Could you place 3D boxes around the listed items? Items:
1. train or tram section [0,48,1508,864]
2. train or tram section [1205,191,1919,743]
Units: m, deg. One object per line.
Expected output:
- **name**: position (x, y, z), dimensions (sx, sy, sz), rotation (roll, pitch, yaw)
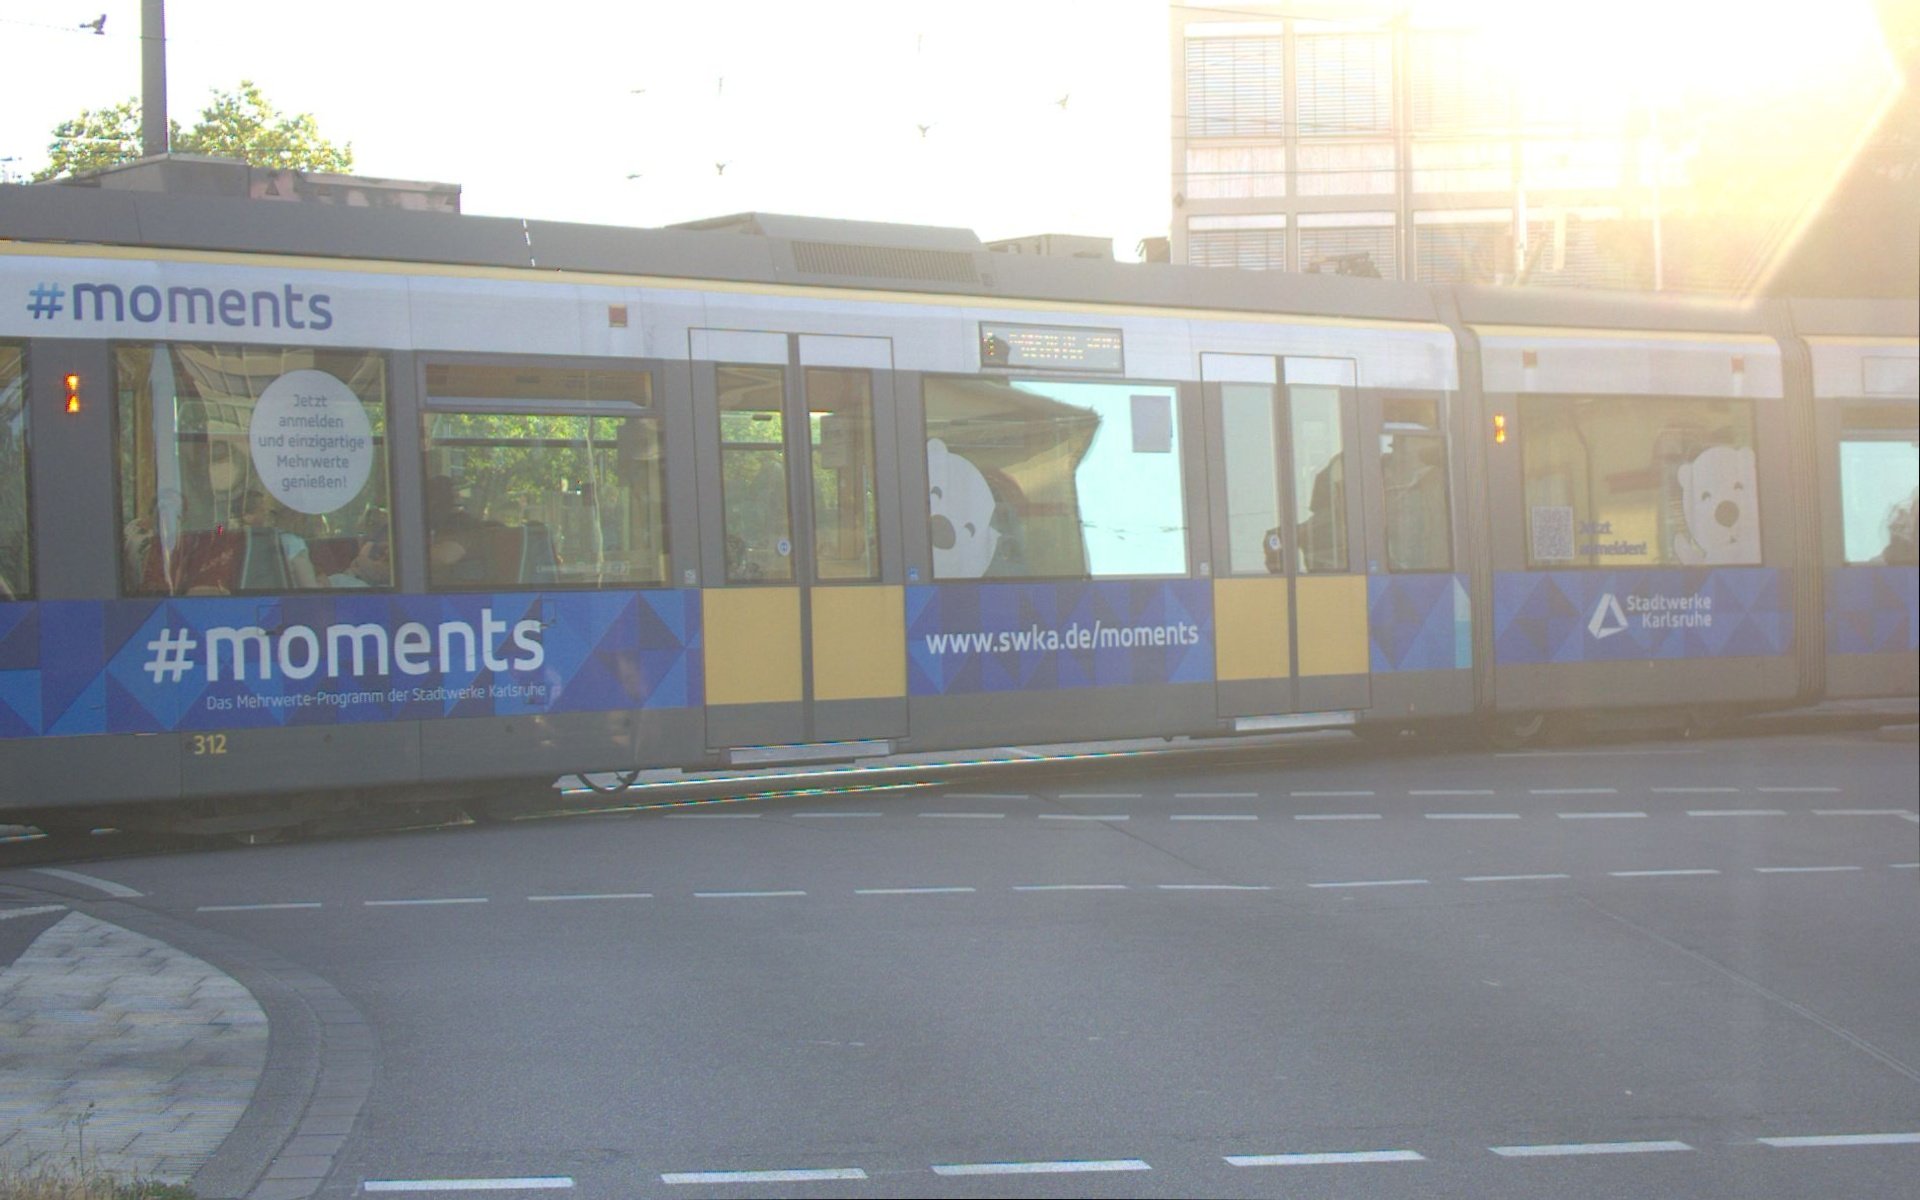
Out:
- **train or tram section**: position (-2.322, -0.744, 20.688), dimensions (13.324, 3.820, 3.713), rotation (-1, 1, -43)
- **train or tram section**: position (8.641, -1.027, 27.930), dimensions (12.934, 3.820, 3.717), rotation (-1, 1, -22)
